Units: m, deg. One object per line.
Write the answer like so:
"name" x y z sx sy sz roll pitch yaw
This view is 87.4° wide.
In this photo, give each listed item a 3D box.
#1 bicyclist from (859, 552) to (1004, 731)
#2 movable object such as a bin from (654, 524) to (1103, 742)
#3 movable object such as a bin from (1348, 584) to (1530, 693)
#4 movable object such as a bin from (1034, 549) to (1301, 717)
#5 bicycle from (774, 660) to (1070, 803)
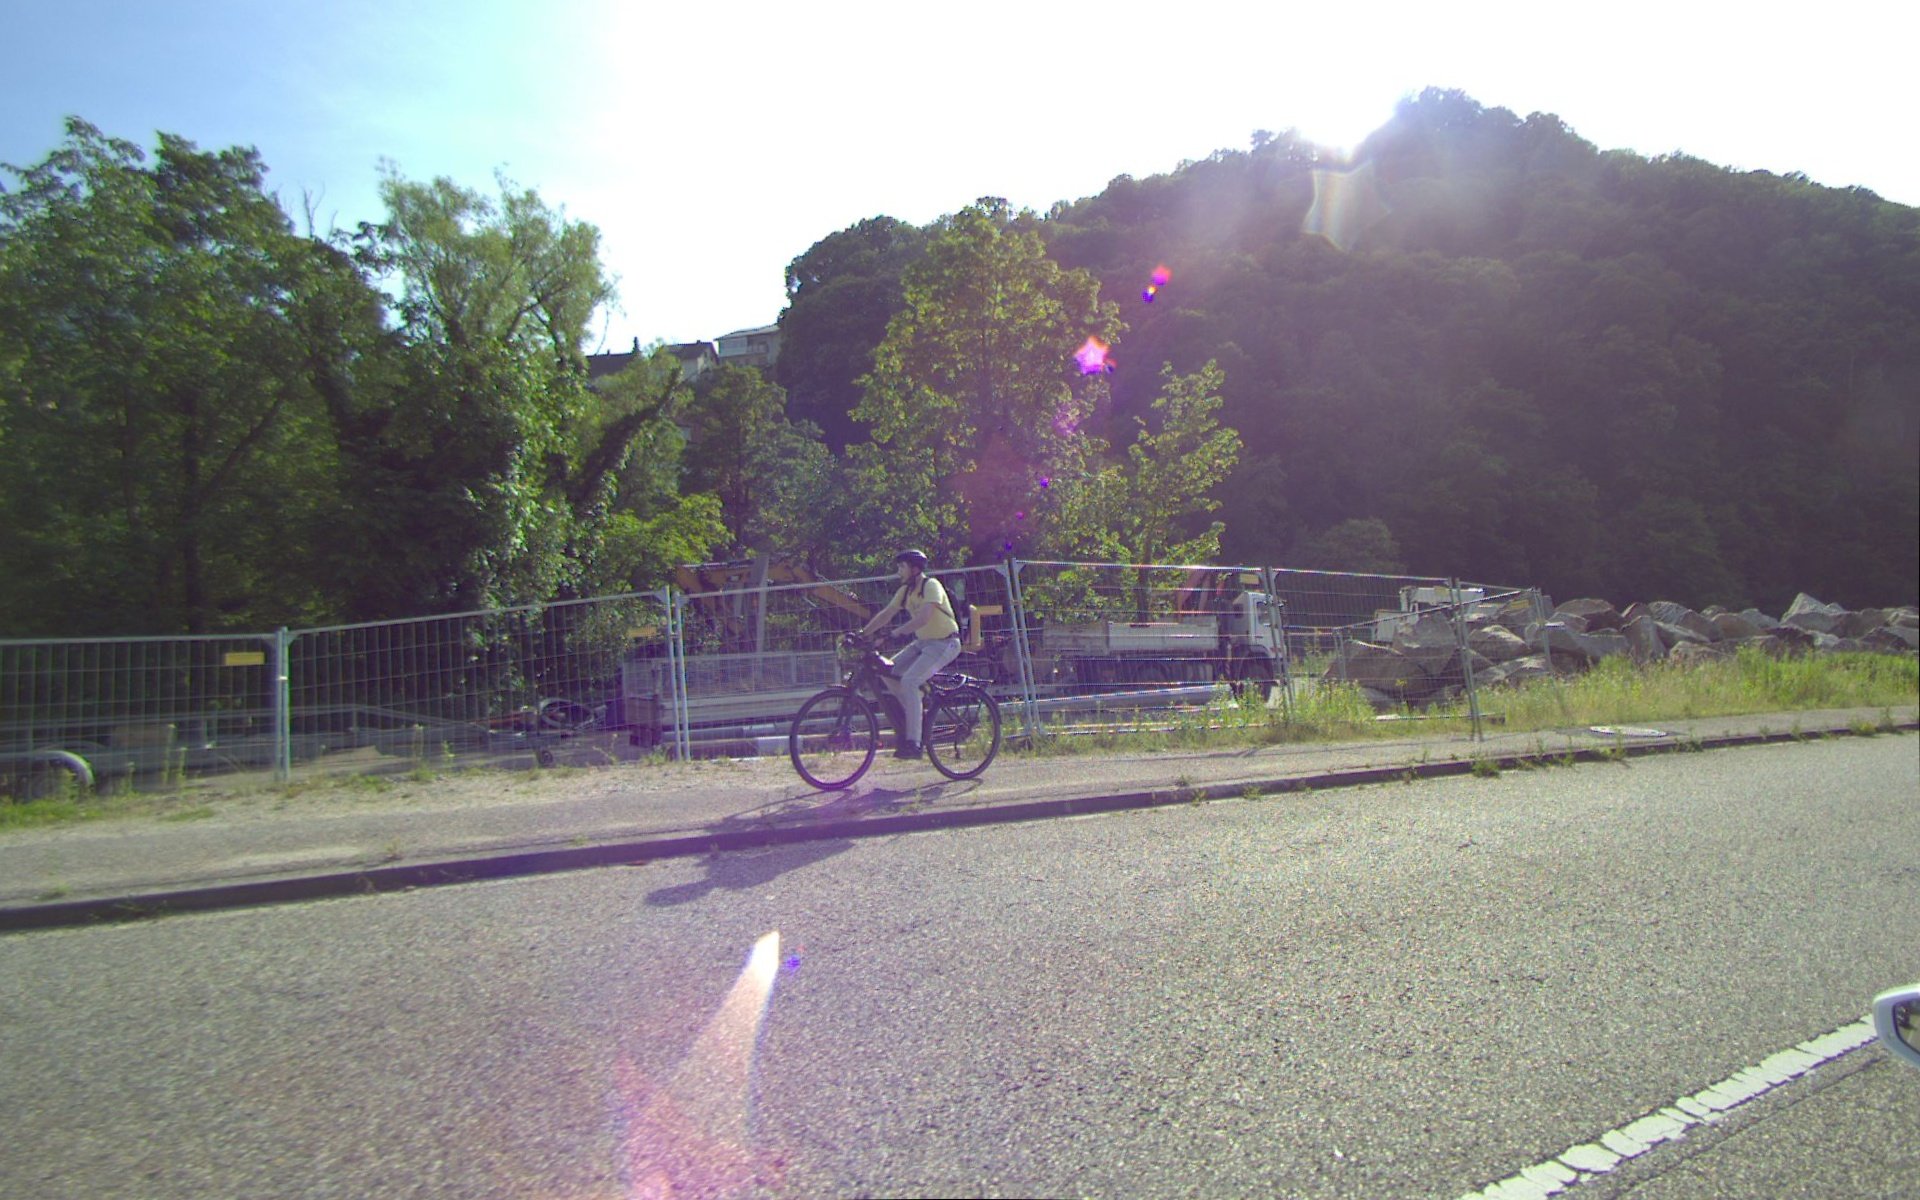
"bicyclist" -0.215 0.296 7.473 0.848 1.241 0.680 1 -1 -32
"movable object such as a bin" -1.460 0.780 22.292 9.883 3.998 2.684 2 -4 -33
"movable object such as a bin" 19.251 1.563 40.200 7.724 3.998 2.882 1 -4 -33
"movable object such as a bin" 5.662 0.928 26.976 7.151 3.998 2.707 1 -3 -33
"bicycle" -0.228 0.924 7.486 2.227 0.893 0.536 1 0 -32
